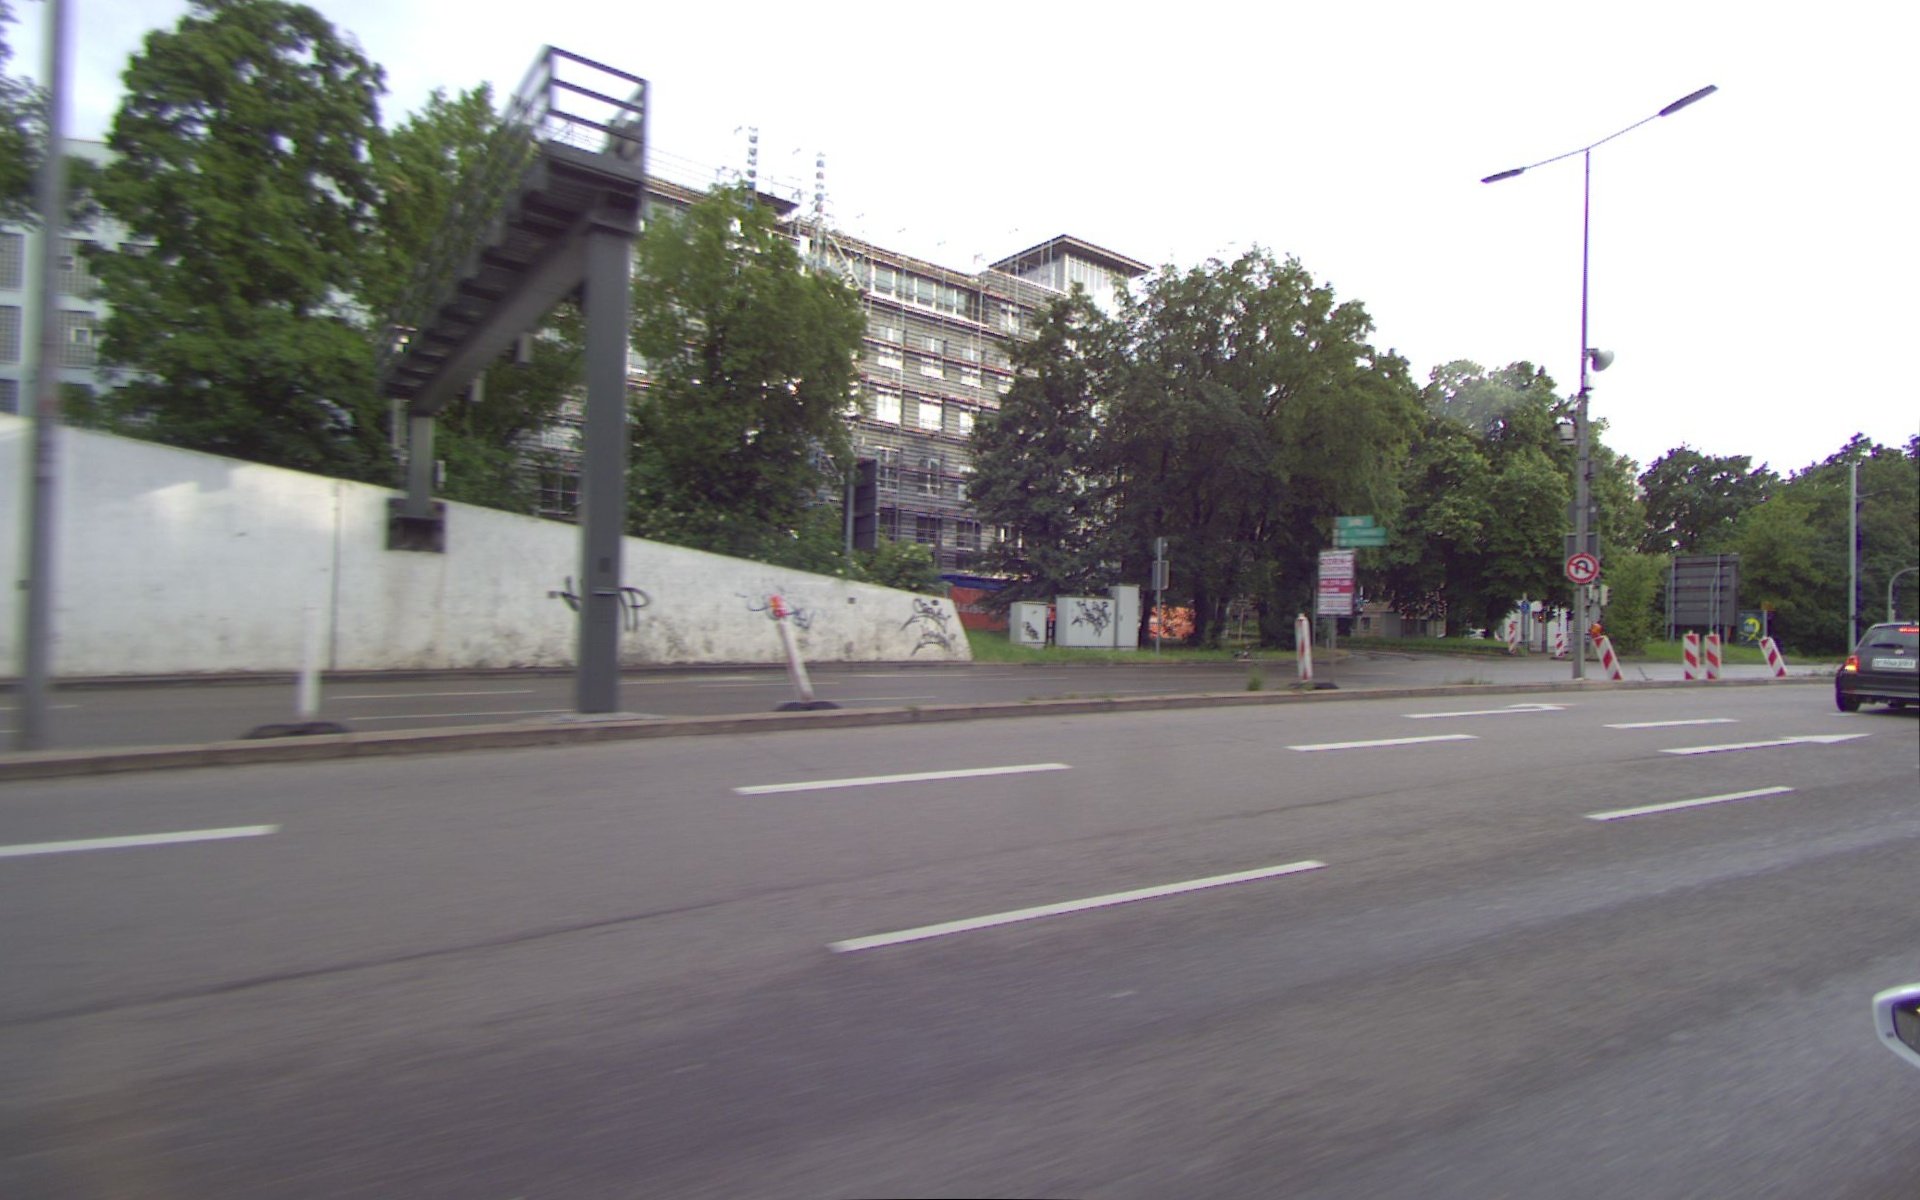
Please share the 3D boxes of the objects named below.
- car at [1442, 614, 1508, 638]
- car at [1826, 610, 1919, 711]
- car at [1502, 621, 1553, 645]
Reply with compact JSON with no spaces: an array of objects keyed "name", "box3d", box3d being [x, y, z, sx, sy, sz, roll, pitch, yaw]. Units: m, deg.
[{"name":"car","box3d":[38.046,1.923,74.263,1.878,1.706,3.961,0,0,-35]},{"name":"car","box3d":[15.873,0.943,16.505,3.535,1.474,1.602,0,1,-34]},{"name":"car","box3d":[44.164,2.539,78.114,3.957,1.706,1.881,0,0,-33]}]
